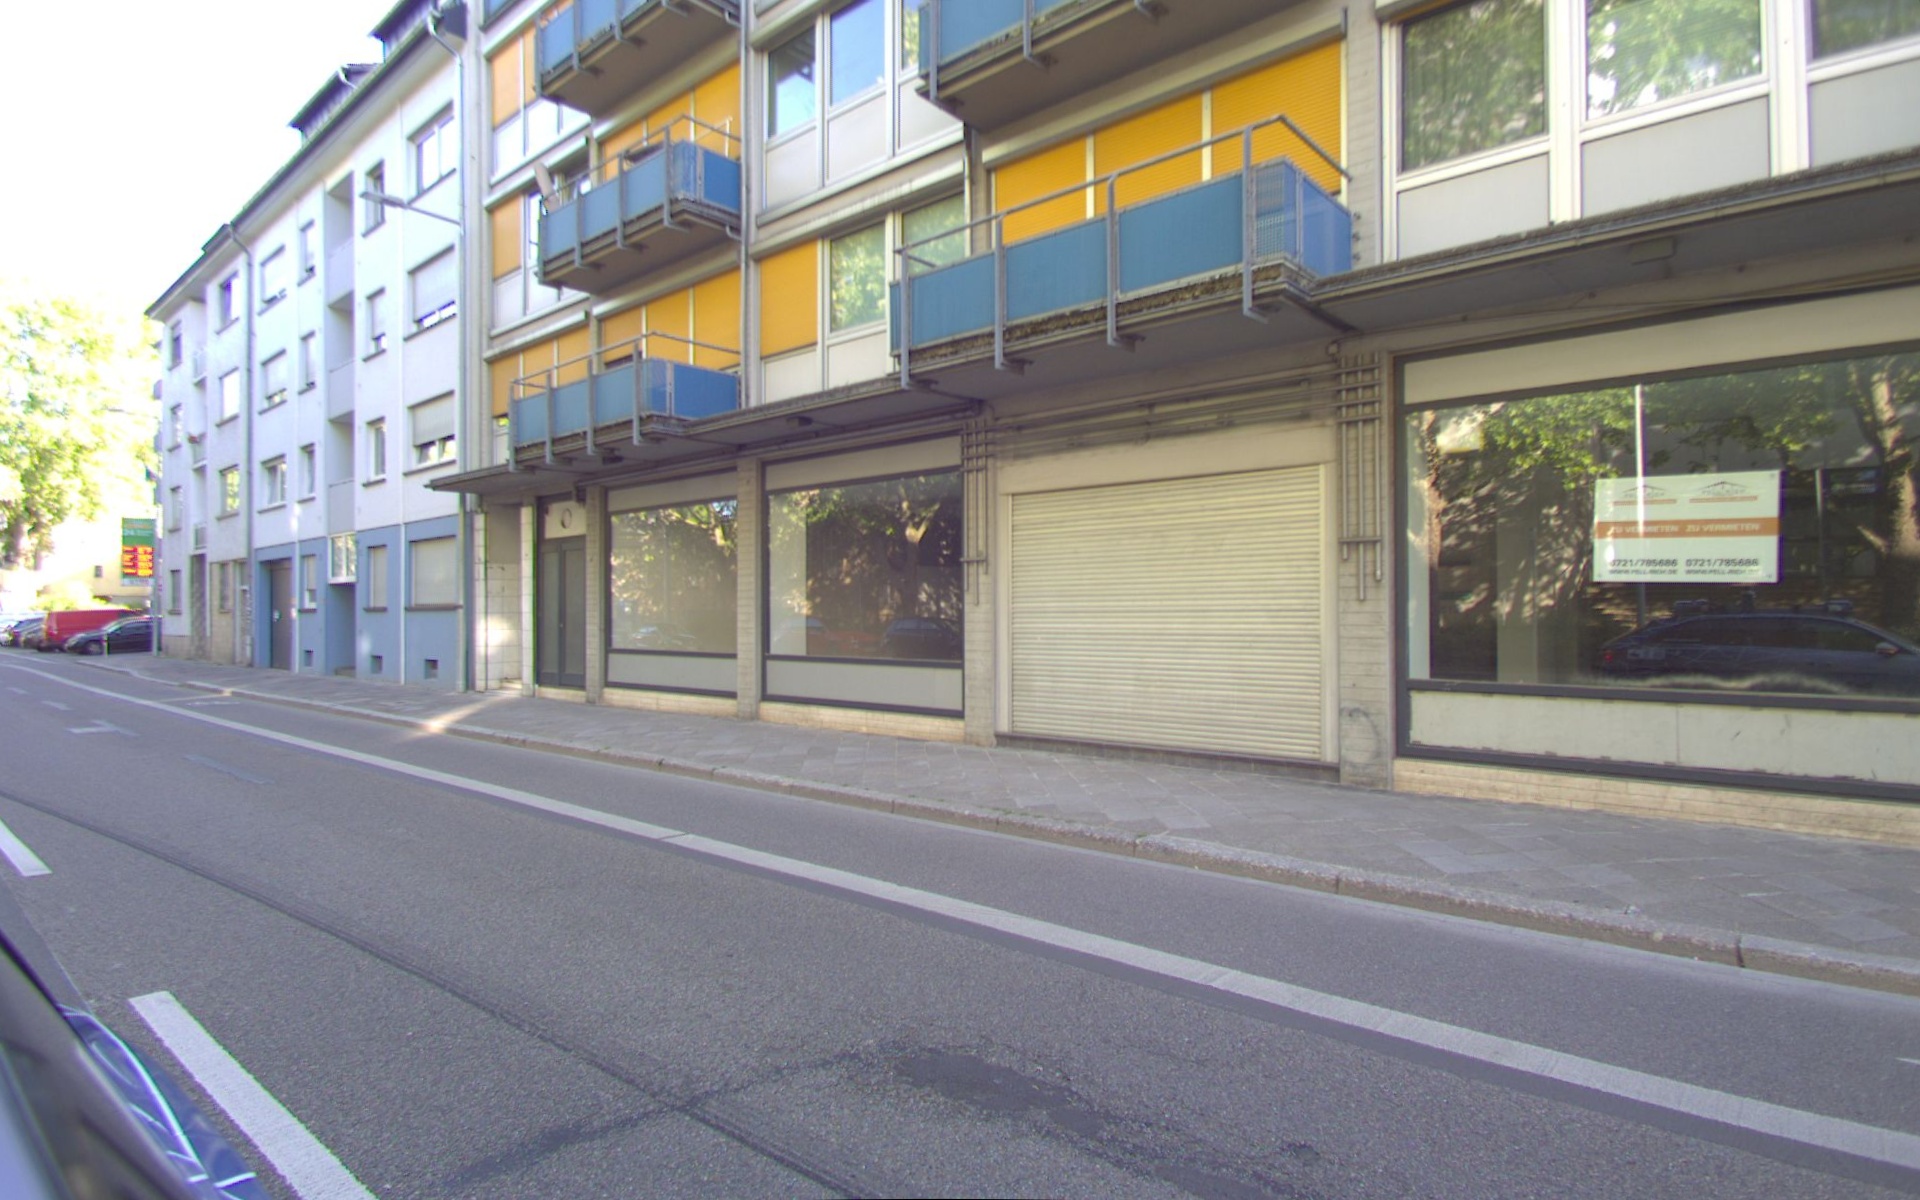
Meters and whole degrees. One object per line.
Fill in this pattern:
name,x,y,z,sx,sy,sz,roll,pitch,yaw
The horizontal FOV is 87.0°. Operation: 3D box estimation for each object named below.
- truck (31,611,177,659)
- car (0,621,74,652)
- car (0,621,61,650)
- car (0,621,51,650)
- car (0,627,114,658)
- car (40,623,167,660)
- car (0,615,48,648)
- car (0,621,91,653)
truck,-40.349,1.587,47.830,1.998,2.036,5.024,-1,0,40
car,-52.882,2.041,57.465,1.656,1.599,3.615,-1,0,35
car,-55.067,2.086,58.994,1.715,1.594,3.660,-1,0,35
car,-56.887,2.126,60.386,1.740,1.600,3.685,-1,0,35
car,-43.315,2.020,48.496,1.904,1.282,3.983,-1,0,39
car,-36.933,1.756,43.693,1.780,1.404,3.947,-1,0,39
car,-59.745,1.973,63.815,1.693,1.953,3.224,-1,0,43
car,-50.821,2.008,55.961,1.699,1.640,3.952,-1,0,35
